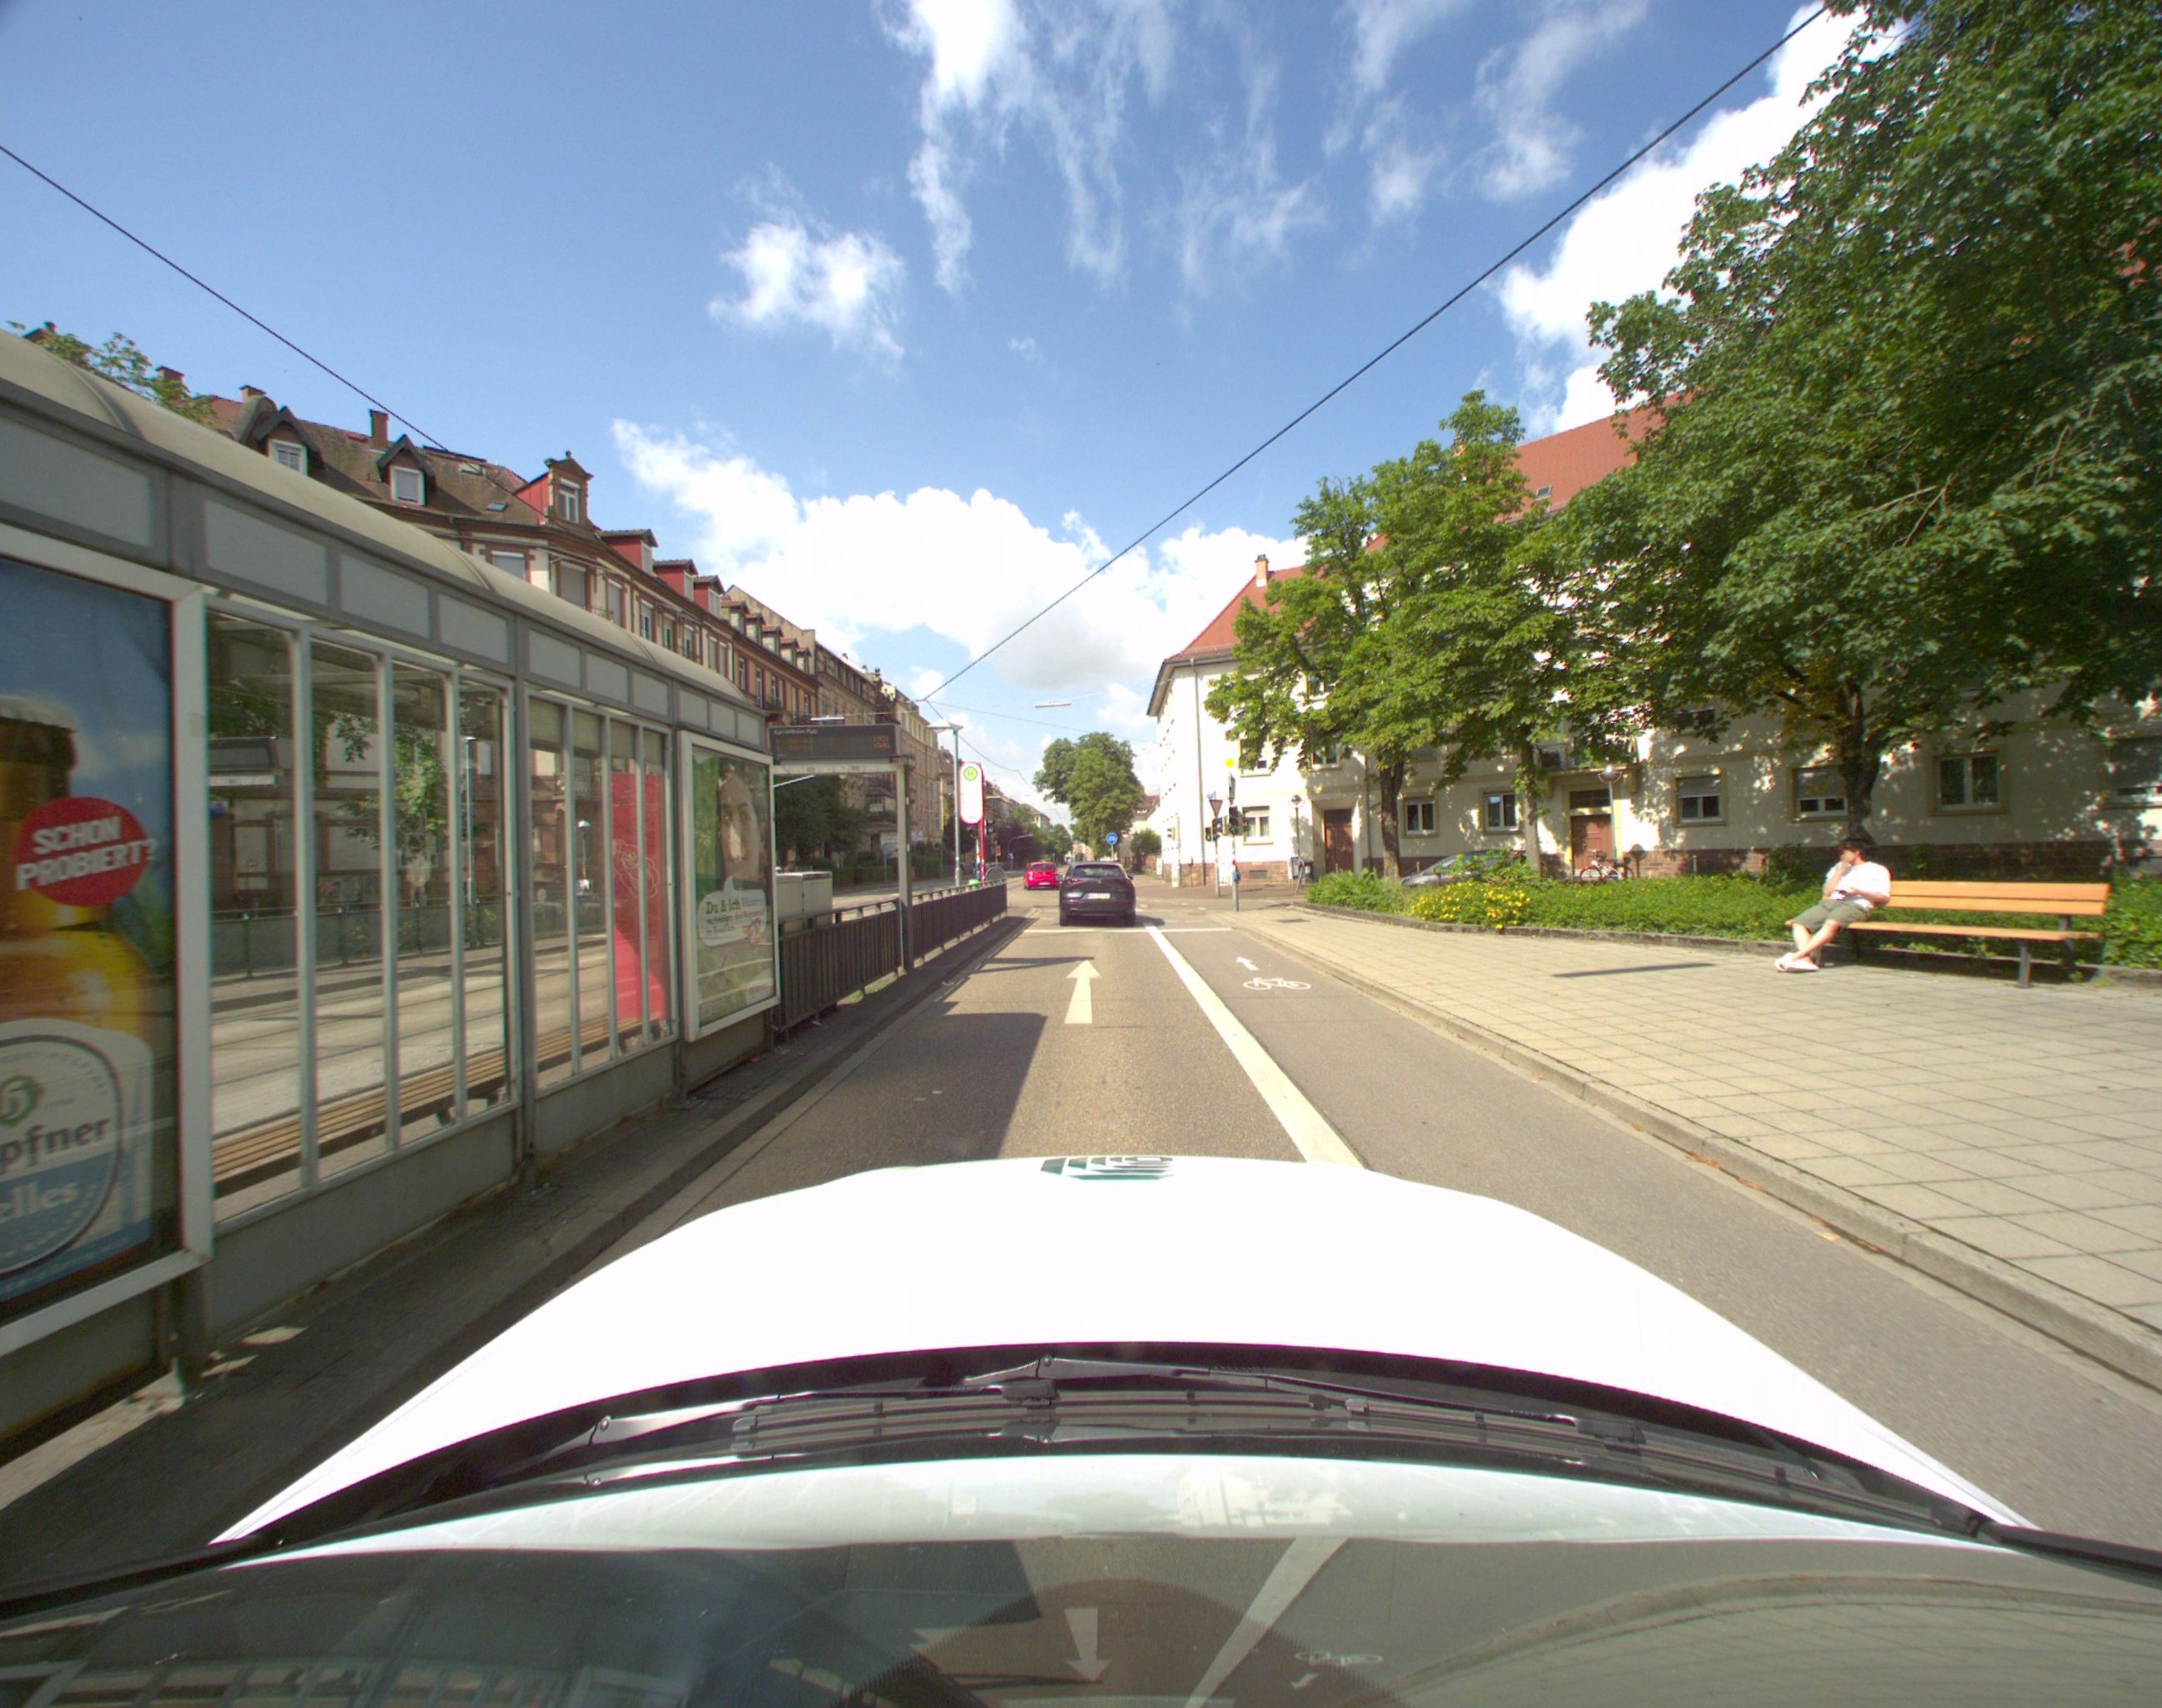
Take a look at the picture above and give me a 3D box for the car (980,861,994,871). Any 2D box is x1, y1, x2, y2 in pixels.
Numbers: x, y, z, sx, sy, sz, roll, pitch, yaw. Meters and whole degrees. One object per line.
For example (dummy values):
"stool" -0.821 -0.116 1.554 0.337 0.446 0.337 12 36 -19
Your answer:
"car" -14.753 1.887 128.007 1.651 1.596 3.930 -2 0 1

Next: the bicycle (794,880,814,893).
"bicycle" -16.013 1.871 47.163 0.383 0.653 1.714 -2 0 6

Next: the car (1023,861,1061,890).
"car" -2.120 1.108 43.698 1.773 1.464 3.833 0 0 -7

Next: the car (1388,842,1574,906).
"car" 10.764 0.530 22.107 4.119 1.510 1.863 -2 1 44

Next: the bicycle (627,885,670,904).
"bicycle" -19.748 1.851 37.244 0.381 0.747 1.722 -2 0 37

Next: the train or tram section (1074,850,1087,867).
"train or tram section" -0.146 1.273 215.641 2.986 3.984 13.811 -2 -1 1

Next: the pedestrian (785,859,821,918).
"pedestrian" -8.104 1.009 23.790 0.768 1.675 0.668 -2 -1 1

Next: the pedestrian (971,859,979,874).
"pedestrian" -12.711 1.473 97.335 0.784 1.688 0.732 -2 -1 3

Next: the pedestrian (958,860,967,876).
"pedestrian" -12.728 1.459 87.259 0.784 1.688 0.732 -2 -1 3

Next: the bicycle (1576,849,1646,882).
"bicycle" 16.946 0.377 26.075 0.569 1.020 1.734 -4 1 -35

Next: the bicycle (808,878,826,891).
"bicycle" -16.004 1.841 49.372 0.383 0.677 1.714 -2 0 6

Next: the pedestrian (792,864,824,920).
"pedestrian" -7.703 1.065 23.023 0.665 1.546 0.581 -2 -1 1

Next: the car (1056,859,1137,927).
"car" 0.290 0.901 20.360 1.778 1.514 3.996 0 -1 -3

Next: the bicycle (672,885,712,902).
"bicycle" -18.538 1.874 38.858 0.381 0.747 1.722 -2 0 37

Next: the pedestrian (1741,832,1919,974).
"pedestrian" 7.346 0.465 8.016 1.189 1.269 0.557 -4 -1 -4
